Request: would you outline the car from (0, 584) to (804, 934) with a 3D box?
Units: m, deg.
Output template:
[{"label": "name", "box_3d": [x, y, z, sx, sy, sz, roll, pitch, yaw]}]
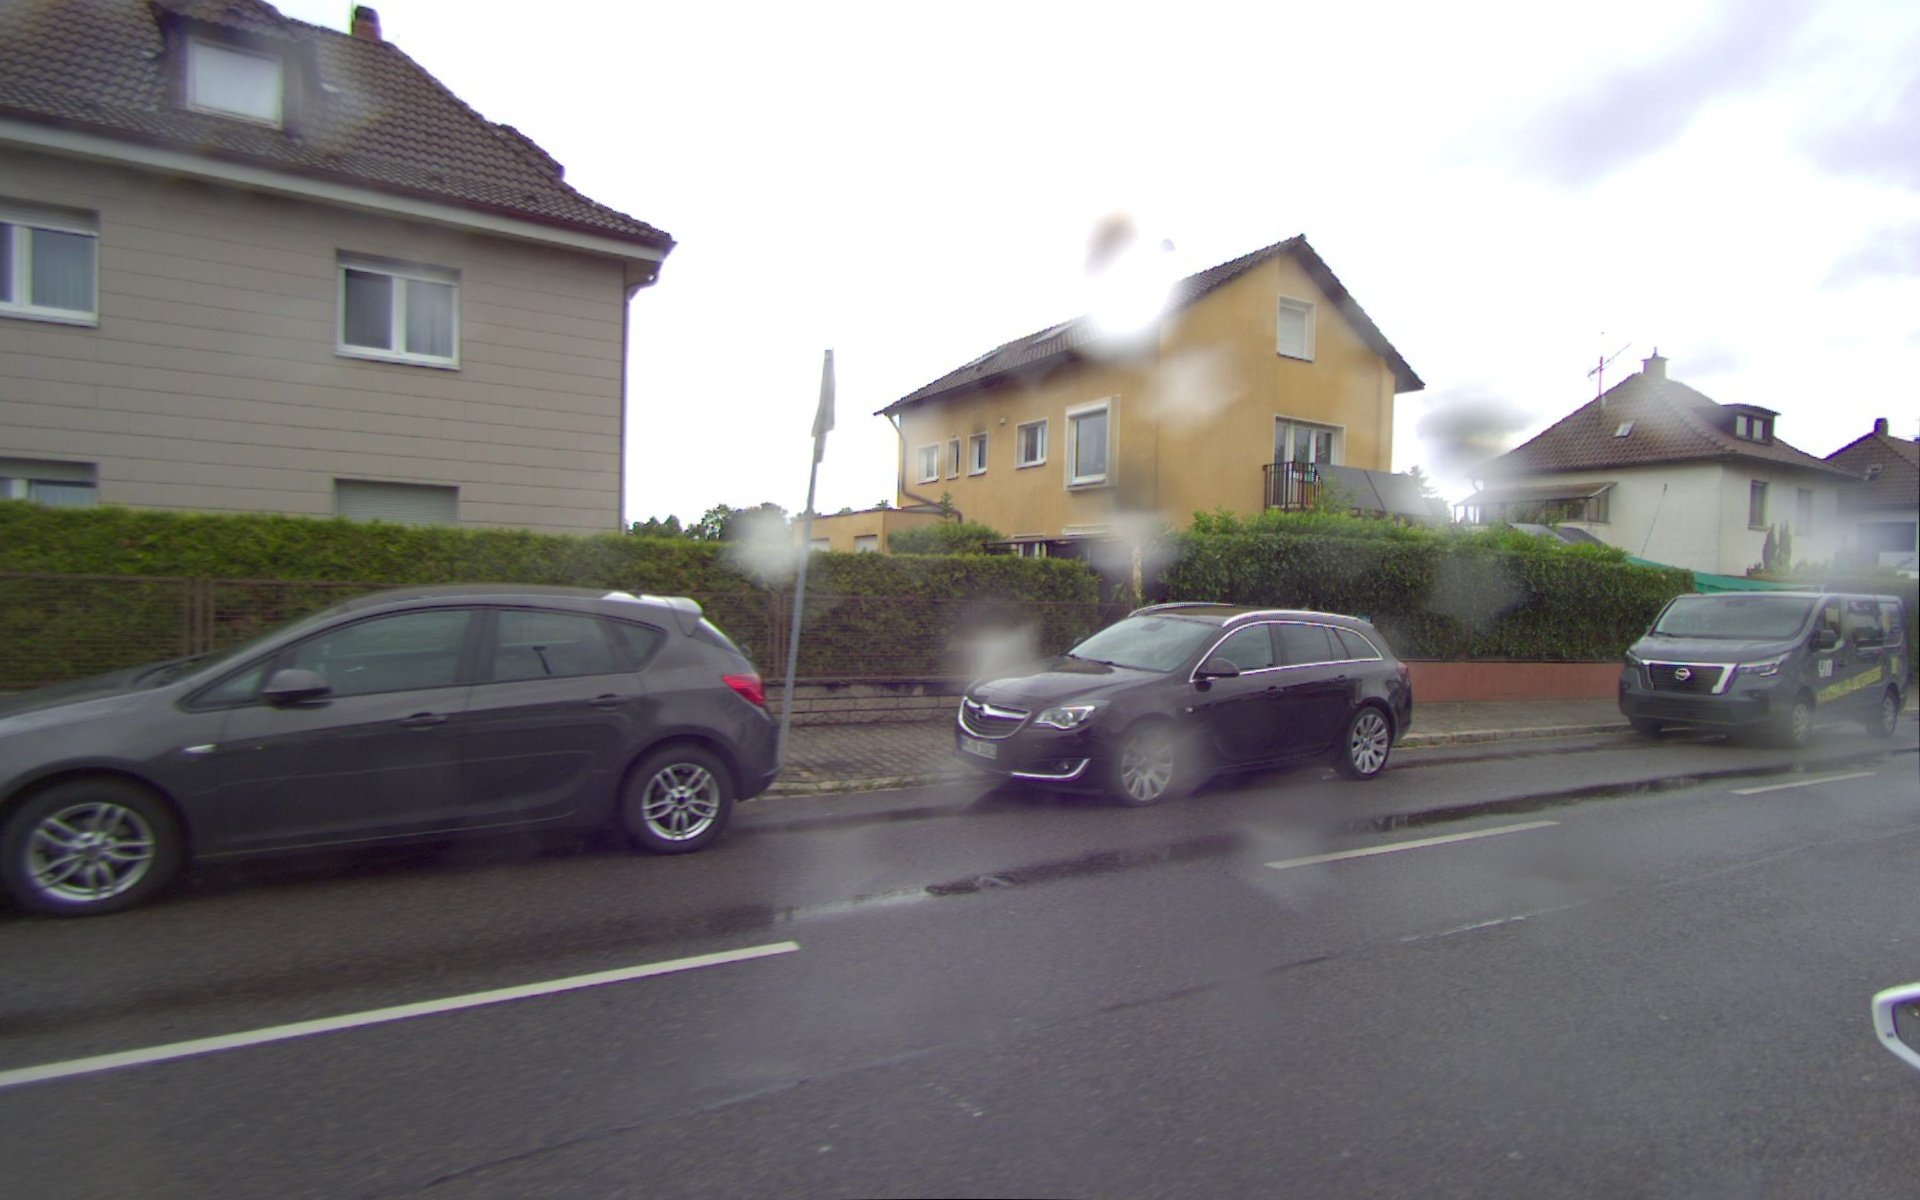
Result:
[{"label": "car", "box_3d": [-3.138, 0.705, 5.747, 4.081, 1.459, 1.742, 2, 0, -30]}]

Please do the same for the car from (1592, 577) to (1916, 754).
[{"label": "car", "box_3d": [10.948, 0.810, 13.736, 5.032, 2.029, 1.902, 2, 0, -32]}]

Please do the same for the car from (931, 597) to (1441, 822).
[{"label": "car", "box_3d": [2.112, 0.813, 8.876, 4.478, 1.537, 1.740, 2, 0, -32]}]
